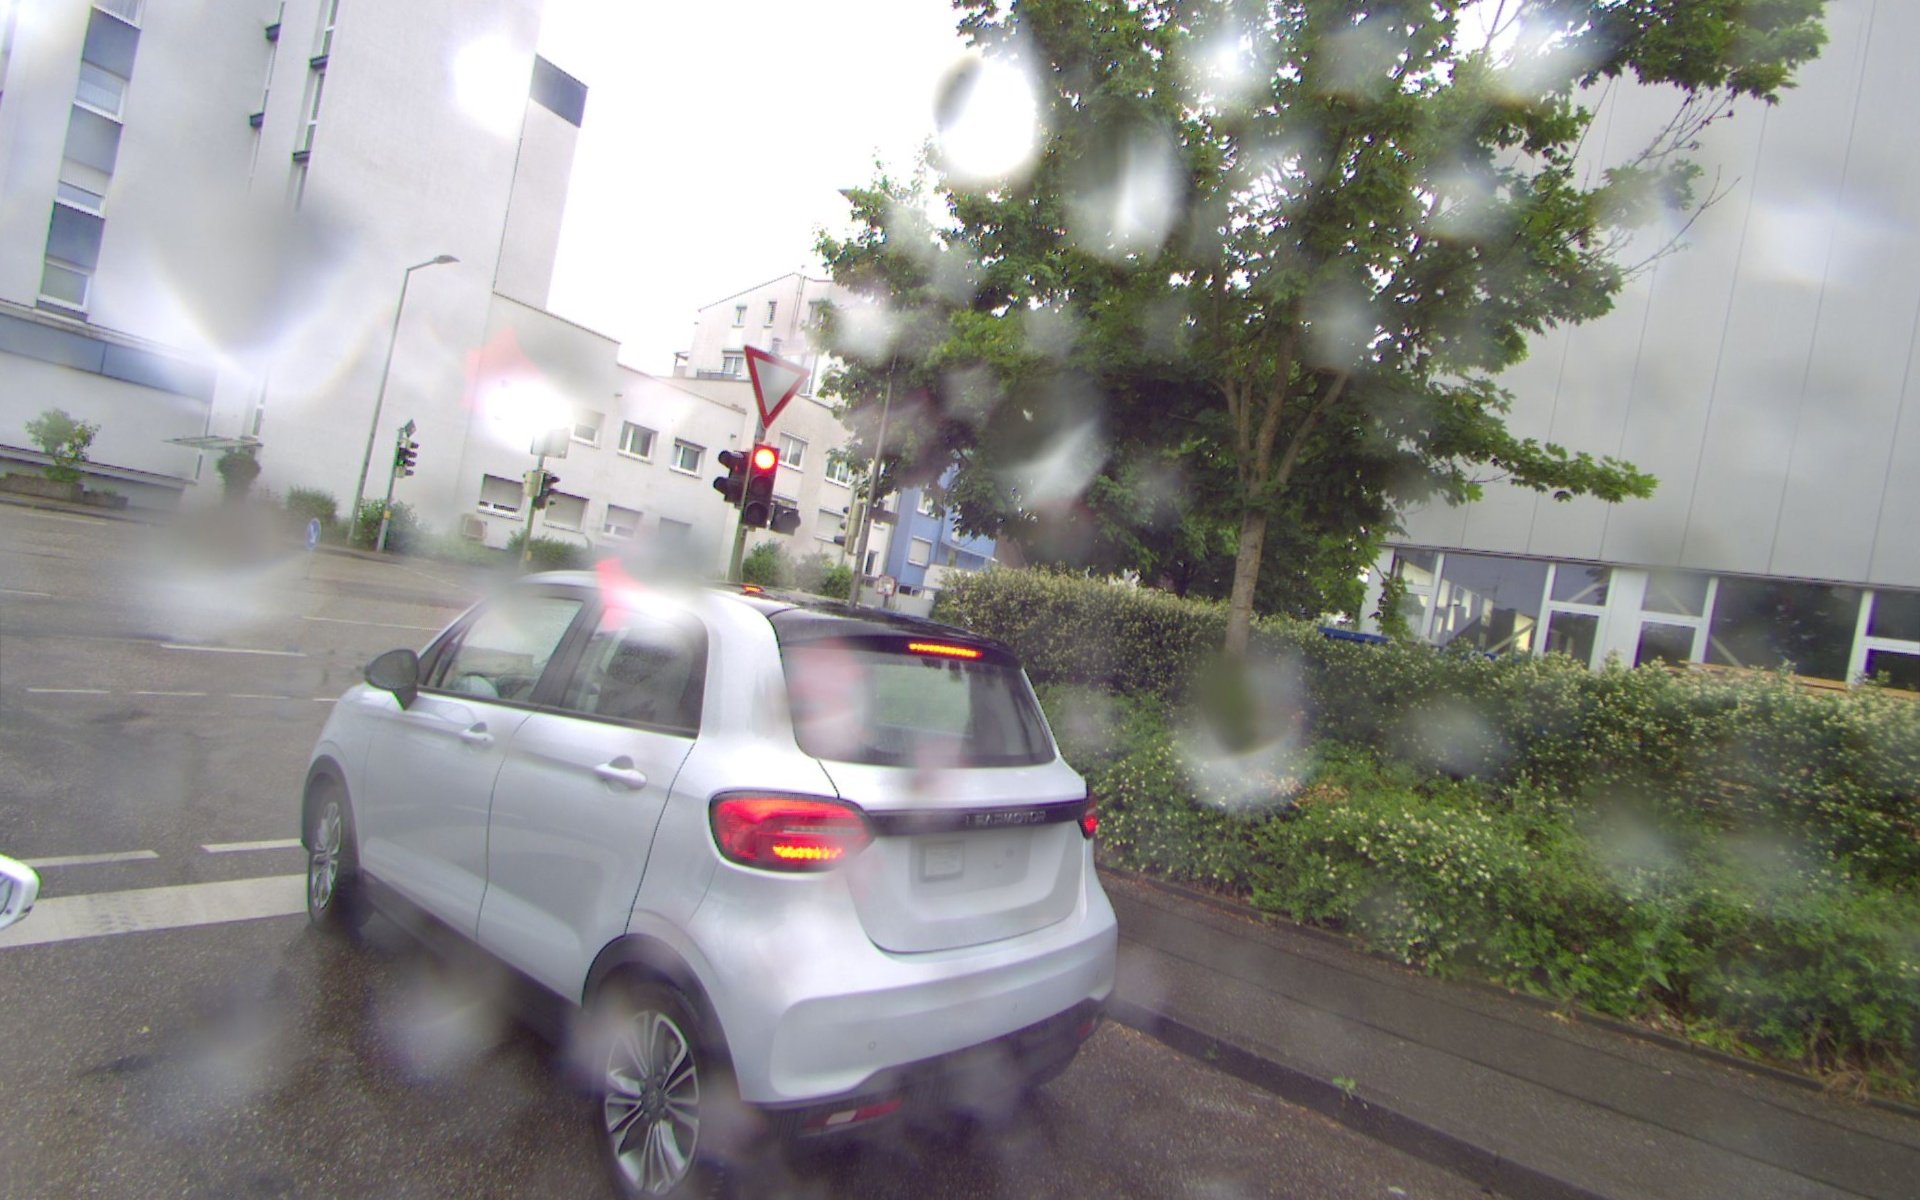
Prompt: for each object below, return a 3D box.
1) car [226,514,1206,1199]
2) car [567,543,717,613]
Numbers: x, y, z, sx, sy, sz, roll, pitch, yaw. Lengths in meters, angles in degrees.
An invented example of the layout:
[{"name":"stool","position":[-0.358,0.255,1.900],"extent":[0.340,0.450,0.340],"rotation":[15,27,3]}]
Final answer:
[{"name":"car","position":[-1.266,0.692,3.982],"extent":[3.850,1.573,1.688],"rotation":[8,0,41]},{"name":"car","position":[-10.100,-0.676,32.191],"extent":[1.717,1.504,4.134],"rotation":[11,1,40]}]
